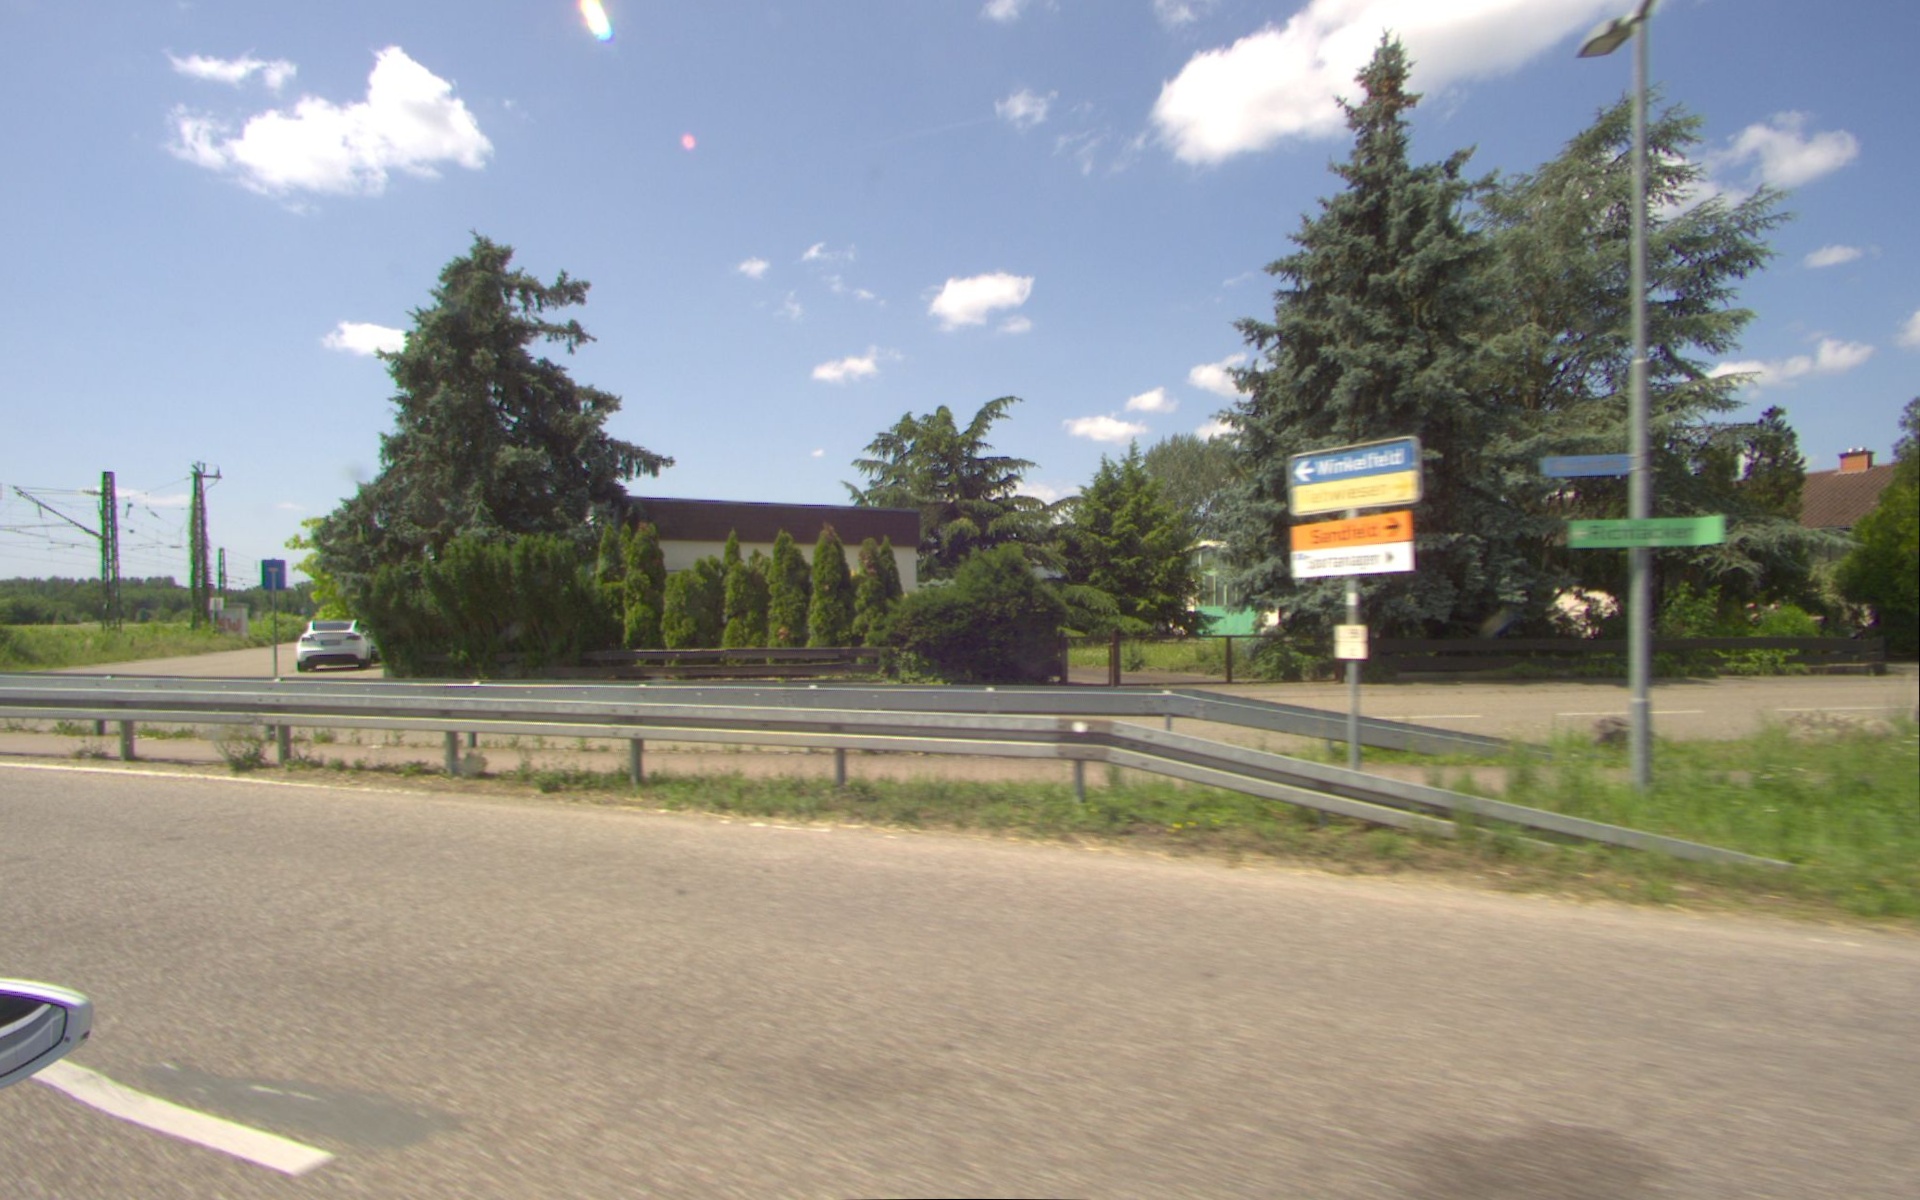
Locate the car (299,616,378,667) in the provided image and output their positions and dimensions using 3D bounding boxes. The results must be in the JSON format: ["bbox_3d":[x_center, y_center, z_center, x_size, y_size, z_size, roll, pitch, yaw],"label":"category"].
[{"bbox_3d":[-20.402,1.319,33.044,1.971,1.529,4.432,0,0,-29],"label":"car"}]

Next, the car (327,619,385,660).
[{"bbox_3d":[-22.867,1.482,38.008,1.626,1.473,3.983,1,-2,-28],"label":"car"}]
